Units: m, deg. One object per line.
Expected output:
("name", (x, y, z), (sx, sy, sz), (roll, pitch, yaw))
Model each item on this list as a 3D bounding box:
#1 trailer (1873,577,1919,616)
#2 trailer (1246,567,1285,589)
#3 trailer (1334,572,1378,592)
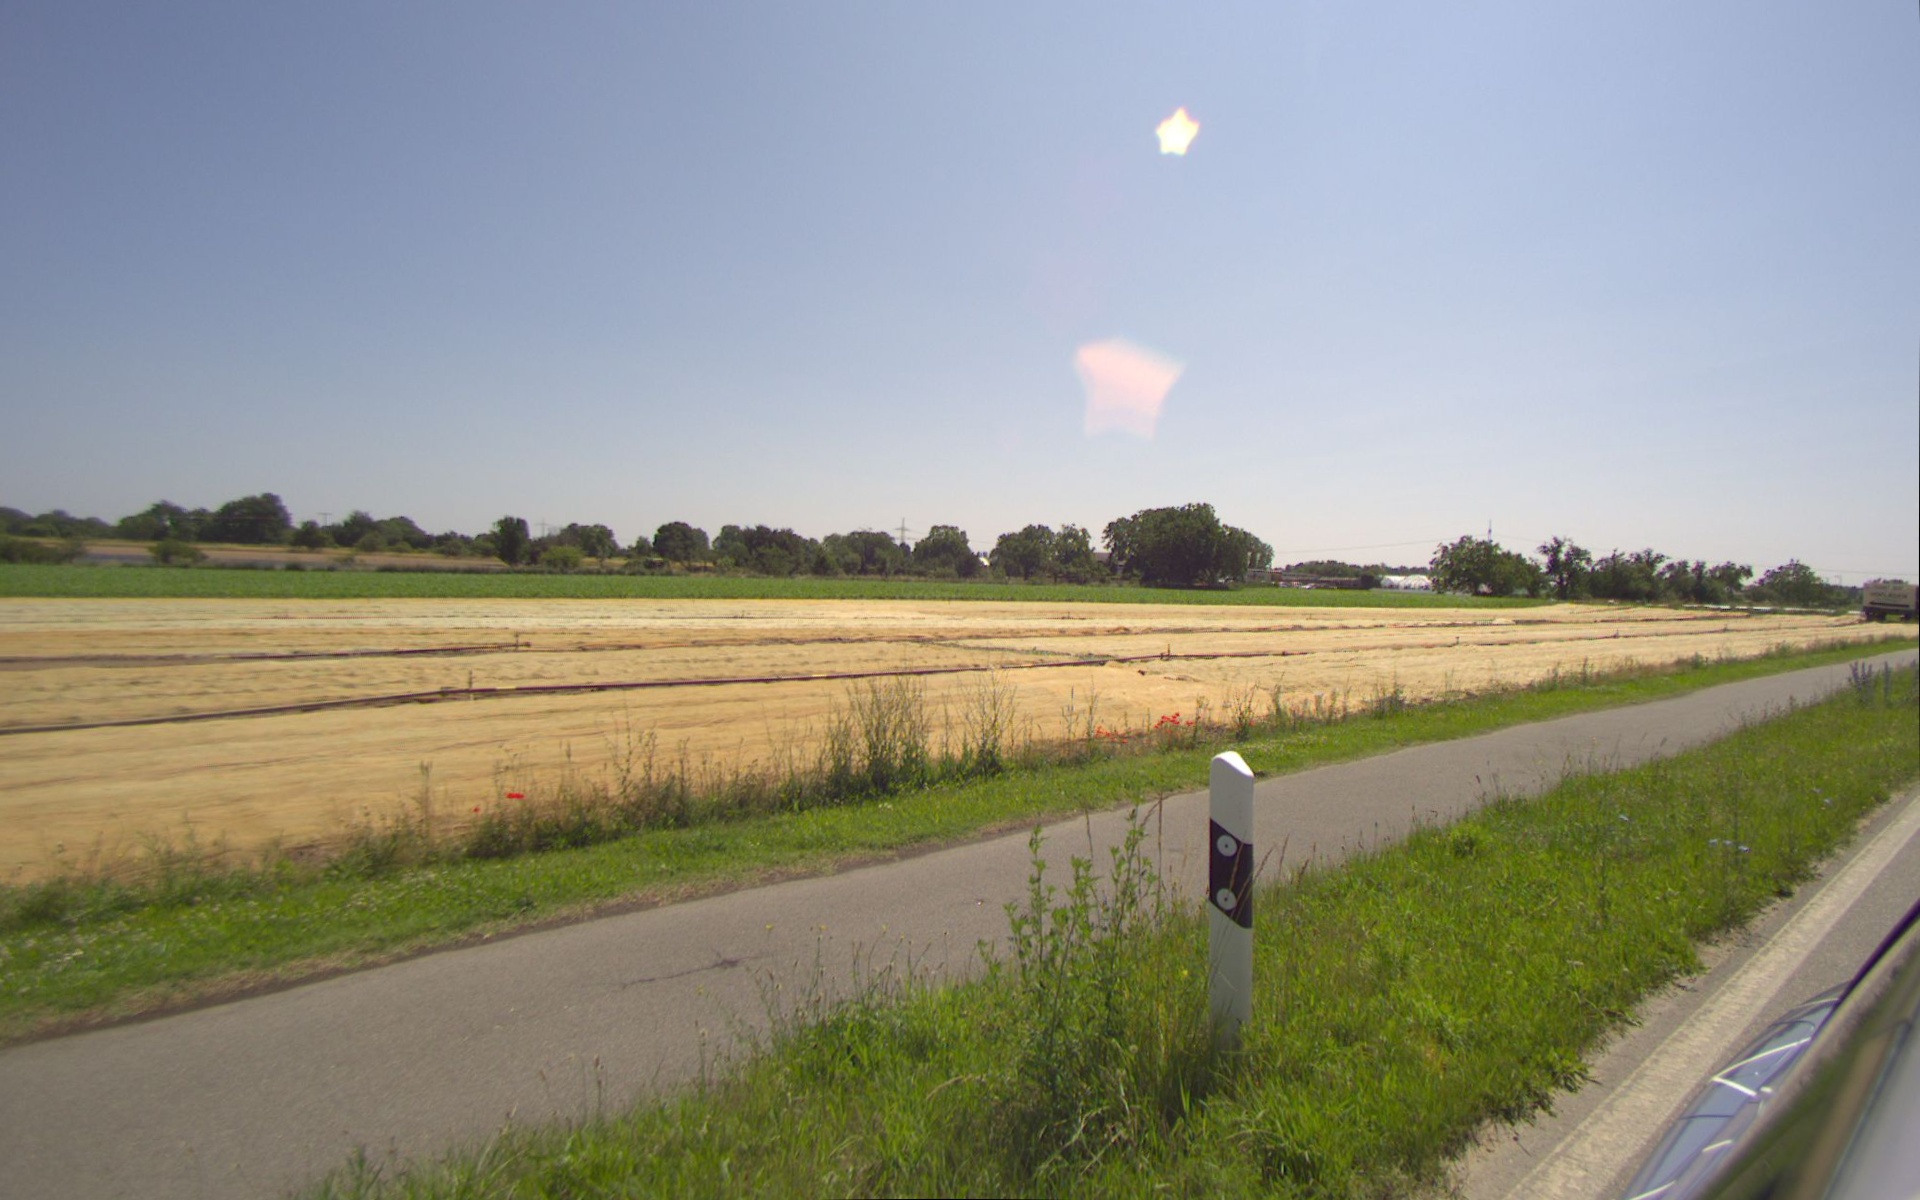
("trailer", (76.591, -0.287, 80.686), (1.958, 2.988, 5.309), (-1, 3, -20))
("trailer", (61.456, -4.527, 203.826), (3.093, 4.274, 7.453), (0, 1, -27))
("trailer", (69.005, -3.188, 176.456), (3.191, 3.334, 7.458), (1, 1, -15))
